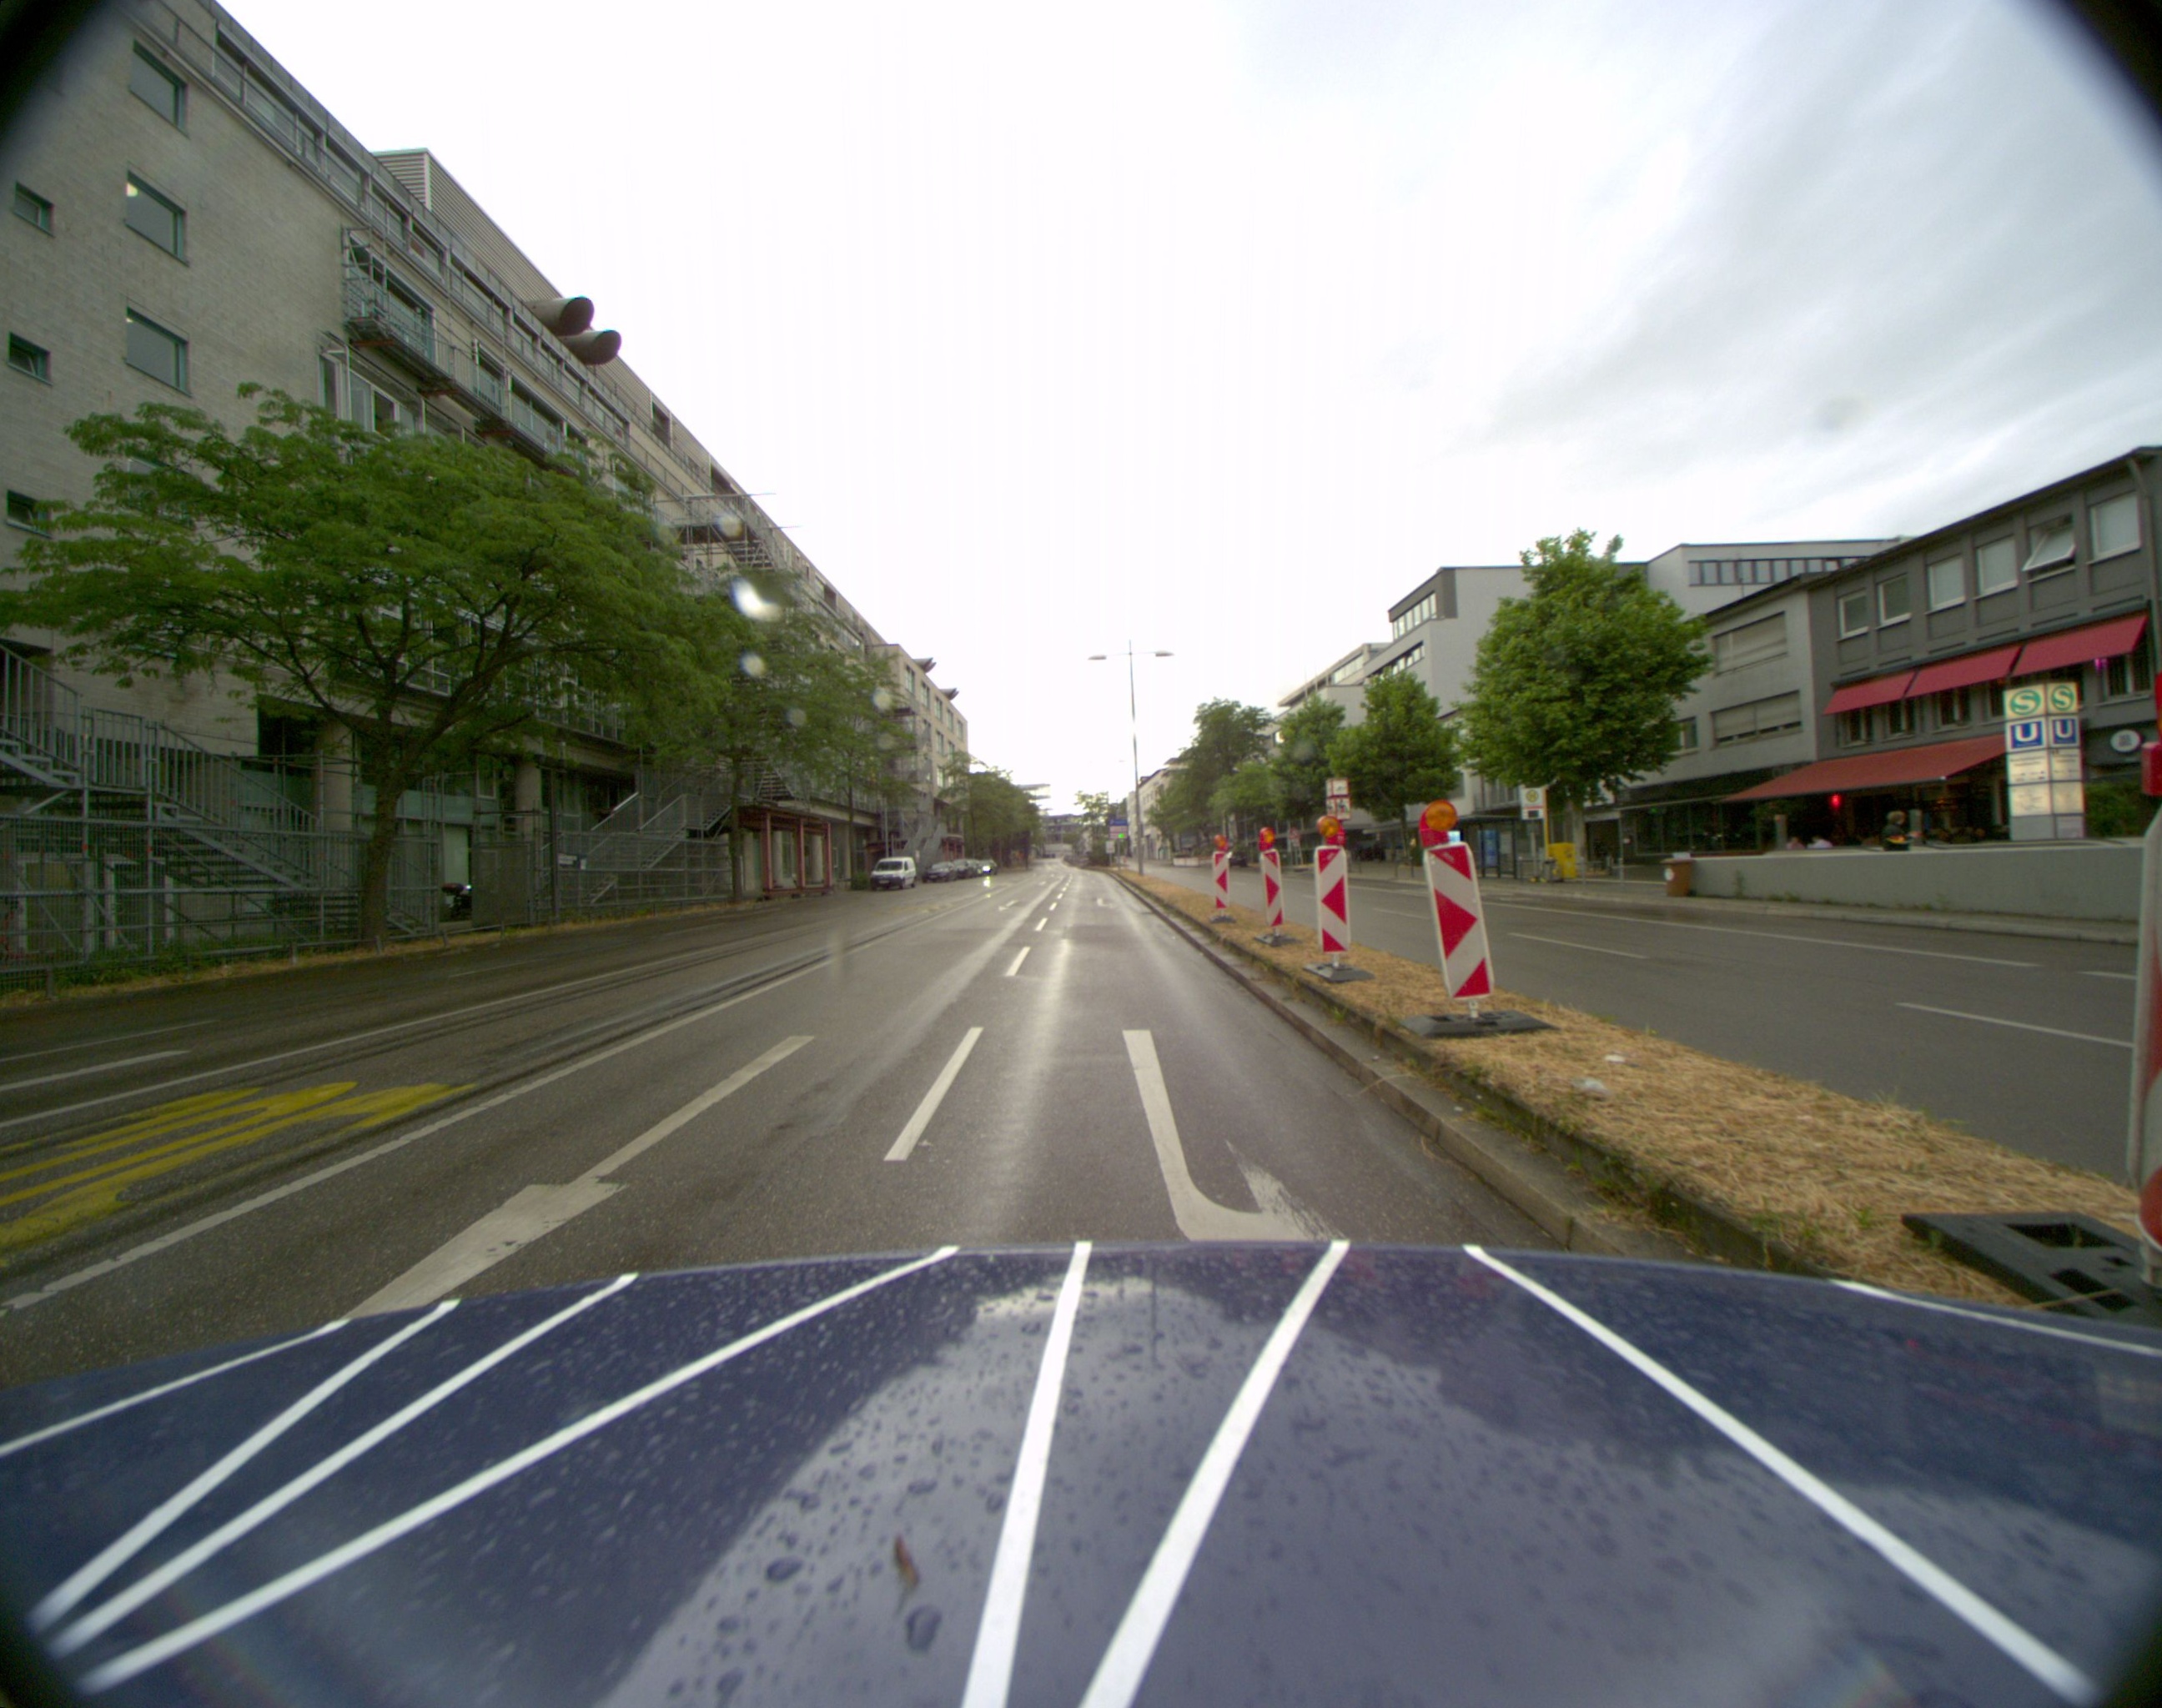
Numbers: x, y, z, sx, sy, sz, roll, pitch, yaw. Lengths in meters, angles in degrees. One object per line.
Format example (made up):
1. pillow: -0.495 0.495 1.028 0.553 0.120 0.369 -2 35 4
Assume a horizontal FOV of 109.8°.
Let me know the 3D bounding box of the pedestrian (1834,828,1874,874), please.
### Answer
1. pedestrian: 24.905 -0.091 24.486 0.691 1.442 0.547 -2 1 -4

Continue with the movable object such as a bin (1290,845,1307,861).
1. movable object such as a bin: 20.307 -0.115 70.930 1.281 1.418 1.088 -2 1 1

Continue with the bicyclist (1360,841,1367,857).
1. bicyclist: 24.794 -0.439 66.624 0.424 1.393 0.408 -1 1 6

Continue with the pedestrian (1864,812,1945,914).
1. pedestrian: 15.772 0.170 14.574 0.691 1.874 0.758 -2 1 -4

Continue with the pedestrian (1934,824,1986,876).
1. pedestrian: 24.773 -0.112 21.421 0.635 1.442 0.691 -2 1 -6

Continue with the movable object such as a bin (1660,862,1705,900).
1. movable object such as a bin: 14.517 0.644 18.354 0.533 0.892 0.682 0 0 -9

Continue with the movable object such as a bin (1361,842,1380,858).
1. movable object such as a bin: 26.835 -0.362 70.400 1.088 1.427 1.281 -2 0 -9

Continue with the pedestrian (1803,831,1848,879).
1. pedestrian: 23.180 0.028 23.666 0.691 1.442 0.707 -2 1 -4

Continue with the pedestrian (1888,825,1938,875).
1. pedestrian: 24.947 -0.122 22.797 0.728 1.442 0.691 -2 1 -6

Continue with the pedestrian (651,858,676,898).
1. pedestrian: -18.350 1.041 33.404 0.677 1.732 0.653 -1 1 3

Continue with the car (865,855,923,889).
1. car: -10.451 0.953 42.805 1.998 1.739 4.526 -2 0 1

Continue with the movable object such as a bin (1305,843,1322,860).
1. movable object such as a bin: 21.701 -0.231 70.921 1.281 1.480 1.088 -2 1 1

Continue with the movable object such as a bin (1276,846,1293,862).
1. movable object such as a bin: 18.956 0.006 70.904 1.281 1.418 1.088 -2 1 1

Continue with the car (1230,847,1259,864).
1. car: 16.005 0.169 74.639 1.783 1.626 4.023 -2 0 -2

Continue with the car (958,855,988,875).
1. car: -9.447 0.950 66.717 1.866 1.591 4.593 -2 0 1

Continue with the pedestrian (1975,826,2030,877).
1. pedestrian: 24.919 -0.060 20.561 0.635 1.336 0.691 -2 1 -6

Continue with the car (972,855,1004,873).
1. car: -8.853 0.934 72.637 1.998 1.591 5.290 -2 0 4

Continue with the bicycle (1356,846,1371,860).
1. bicycle: 24.763 -0.119 66.631 1.148 1.217 0.405 -1 1 6

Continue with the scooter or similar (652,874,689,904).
1. scooter or similar: -17.181 1.451 31.835 0.633 1.155 1.547 -2 0 1

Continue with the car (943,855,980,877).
1. car: -9.591 0.938 61.343 1.998 1.636 4.863 -2 0 3

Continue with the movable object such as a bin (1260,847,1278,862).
1. movable object such as a bin: 17.515 0.043 70.903 1.362 1.418 1.088 -2 1 1

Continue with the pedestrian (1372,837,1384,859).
1. pedestrian: 24.088 -0.456 61.571 0.698 1.753 0.653 -1 1 3

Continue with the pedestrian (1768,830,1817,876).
1. pedestrian: 23.105 -0.045 24.699 0.691 1.442 0.914 -2 0 -4

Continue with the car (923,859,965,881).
1. car: -9.780 1.097 54.550 1.873 1.429 4.922 -2 0 3

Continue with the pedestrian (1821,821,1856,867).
1. pedestrian: 26.004 -0.351 26.096 0.598 1.561 0.604 -2 1 -9
